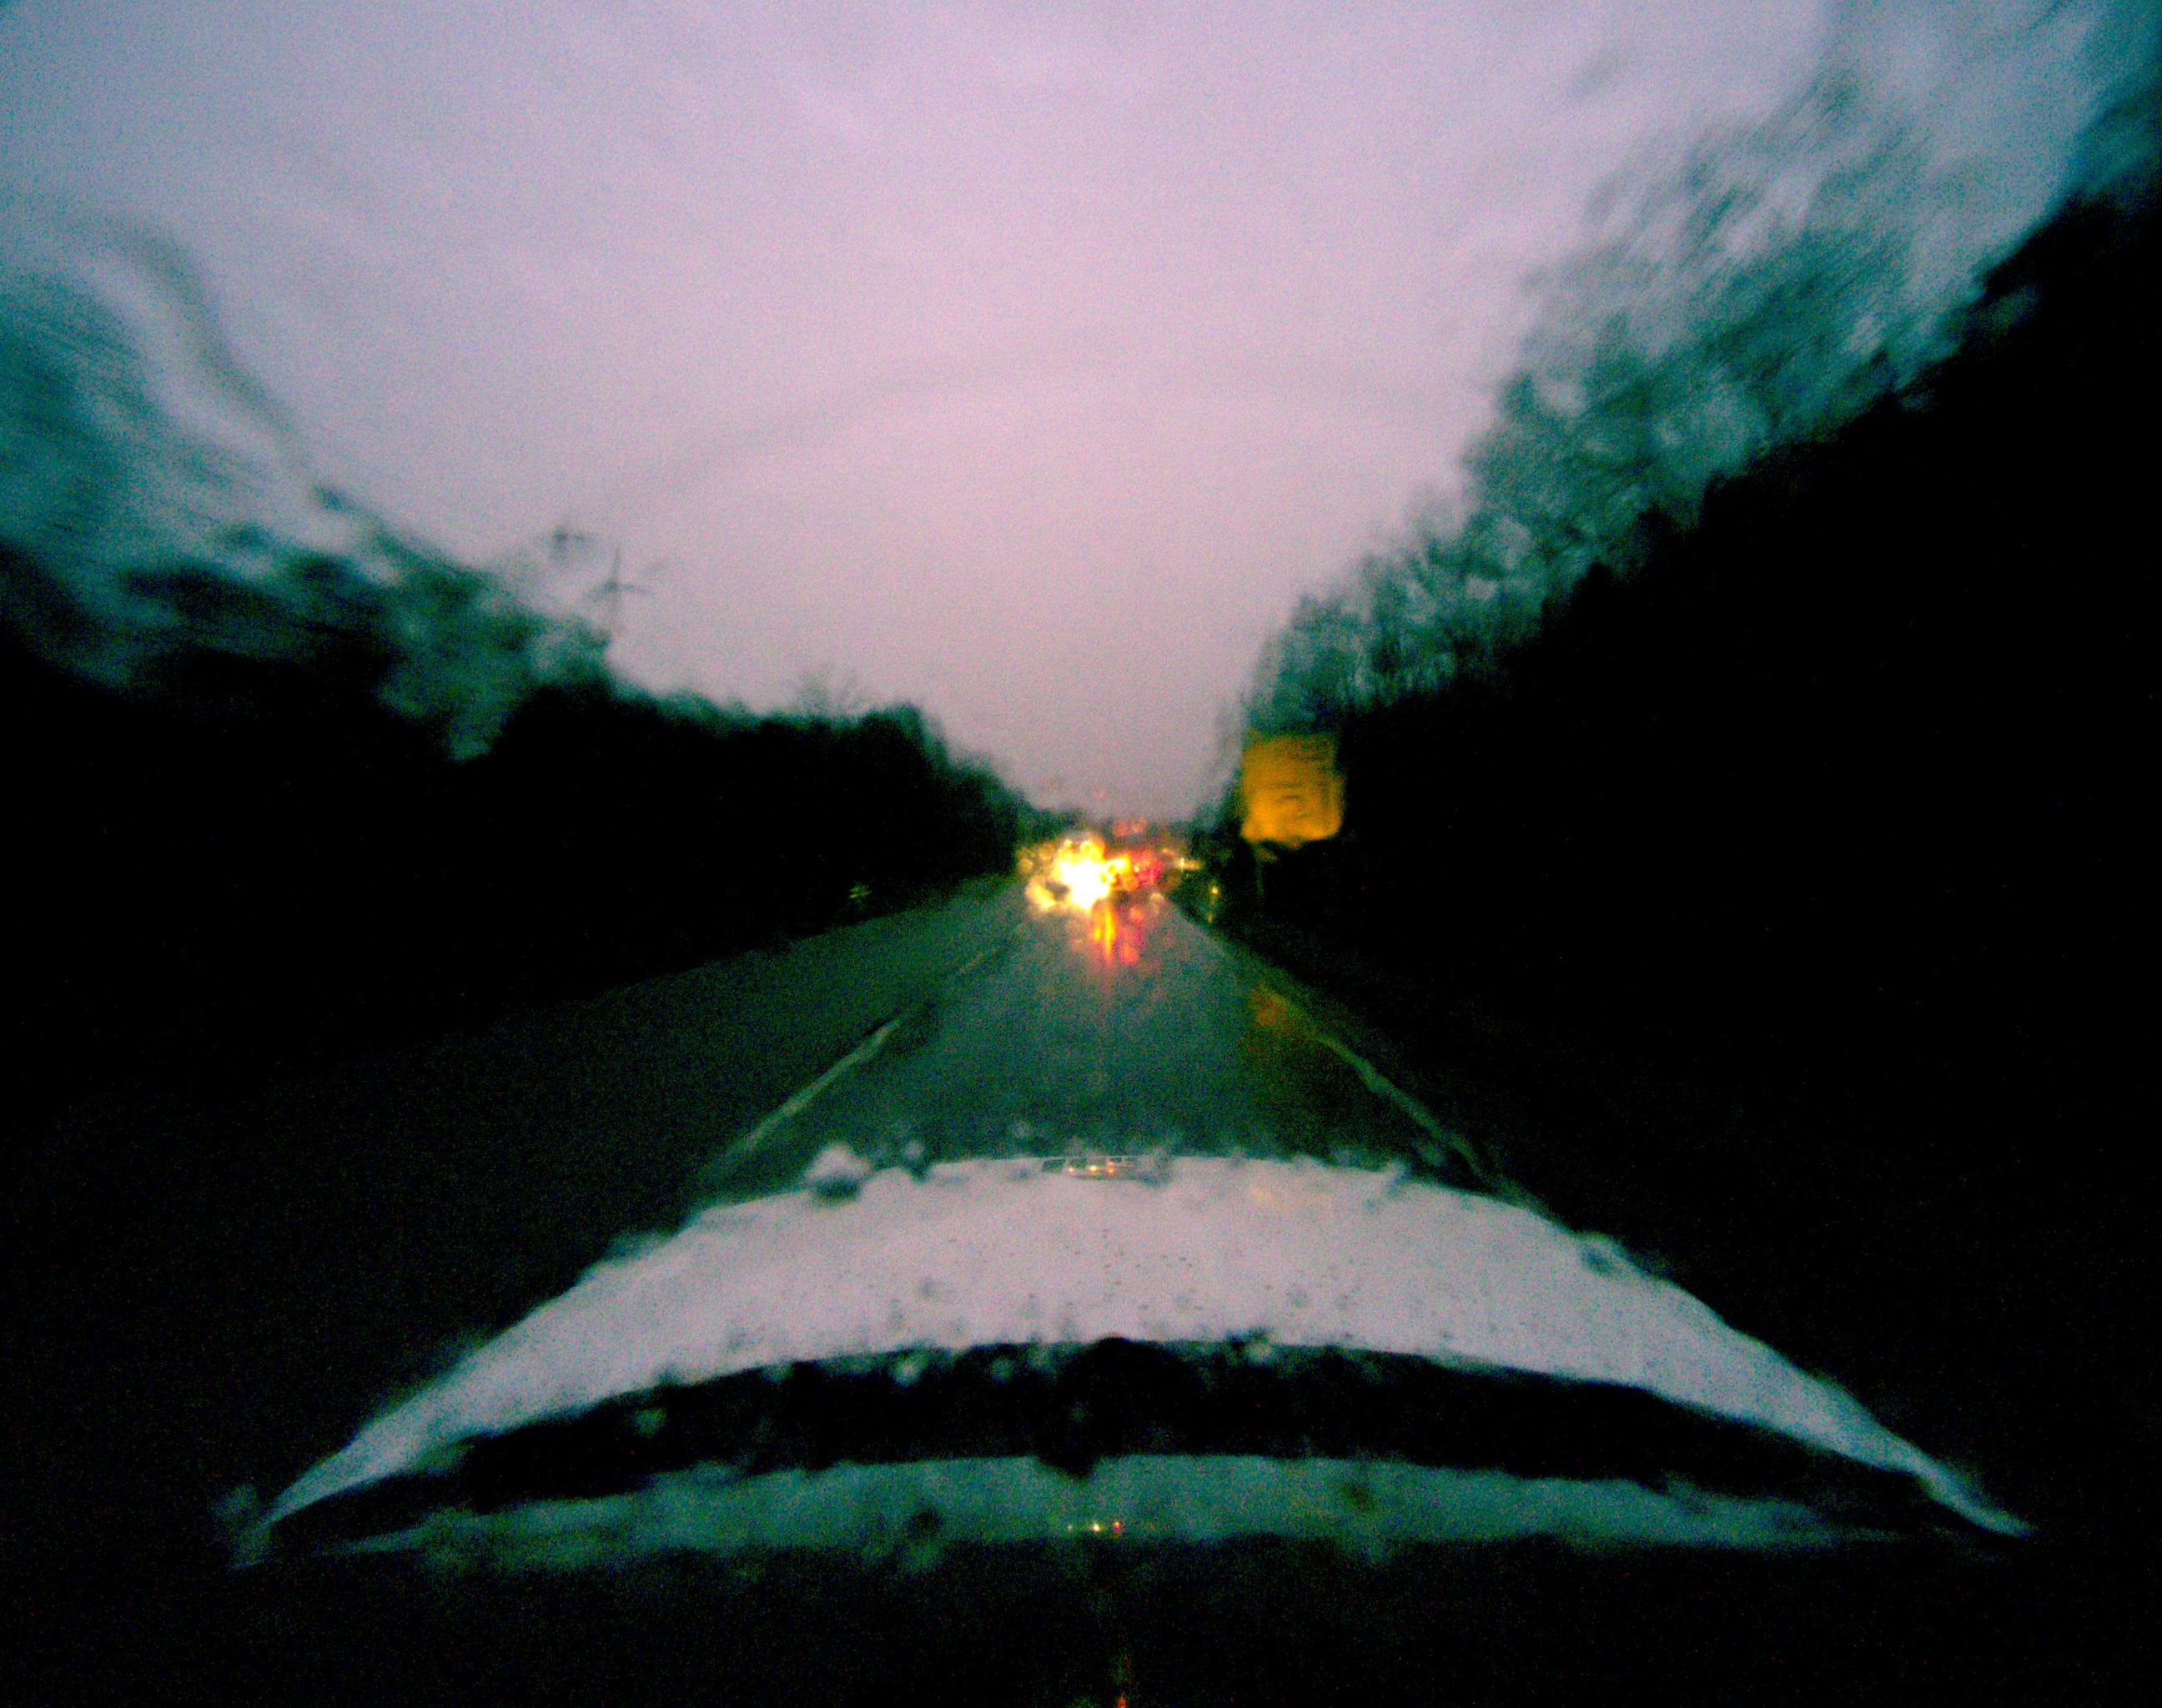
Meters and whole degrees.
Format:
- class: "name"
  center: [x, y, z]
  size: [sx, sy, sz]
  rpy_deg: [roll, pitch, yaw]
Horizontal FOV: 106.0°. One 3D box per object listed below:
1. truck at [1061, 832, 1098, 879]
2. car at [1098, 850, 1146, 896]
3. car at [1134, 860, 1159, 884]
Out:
- class: "truck"
  center: [-0.058, 0.125, 76.427]
  size: [2.786, 4.126, 7.208]
  rpy_deg: [-2, 0, 4]
- class: "car"
  center: [1.573, 0.704, 31.884]
  size: [1.721, 1.643, 4.001]
  rpy_deg: [-2, 0, 2]
- class: "car"
  center: [5.915, 1.630, 73.601]
  size: [1.983, 2.013, 4.008]
  rpy_deg: [-2, 0, 7]
